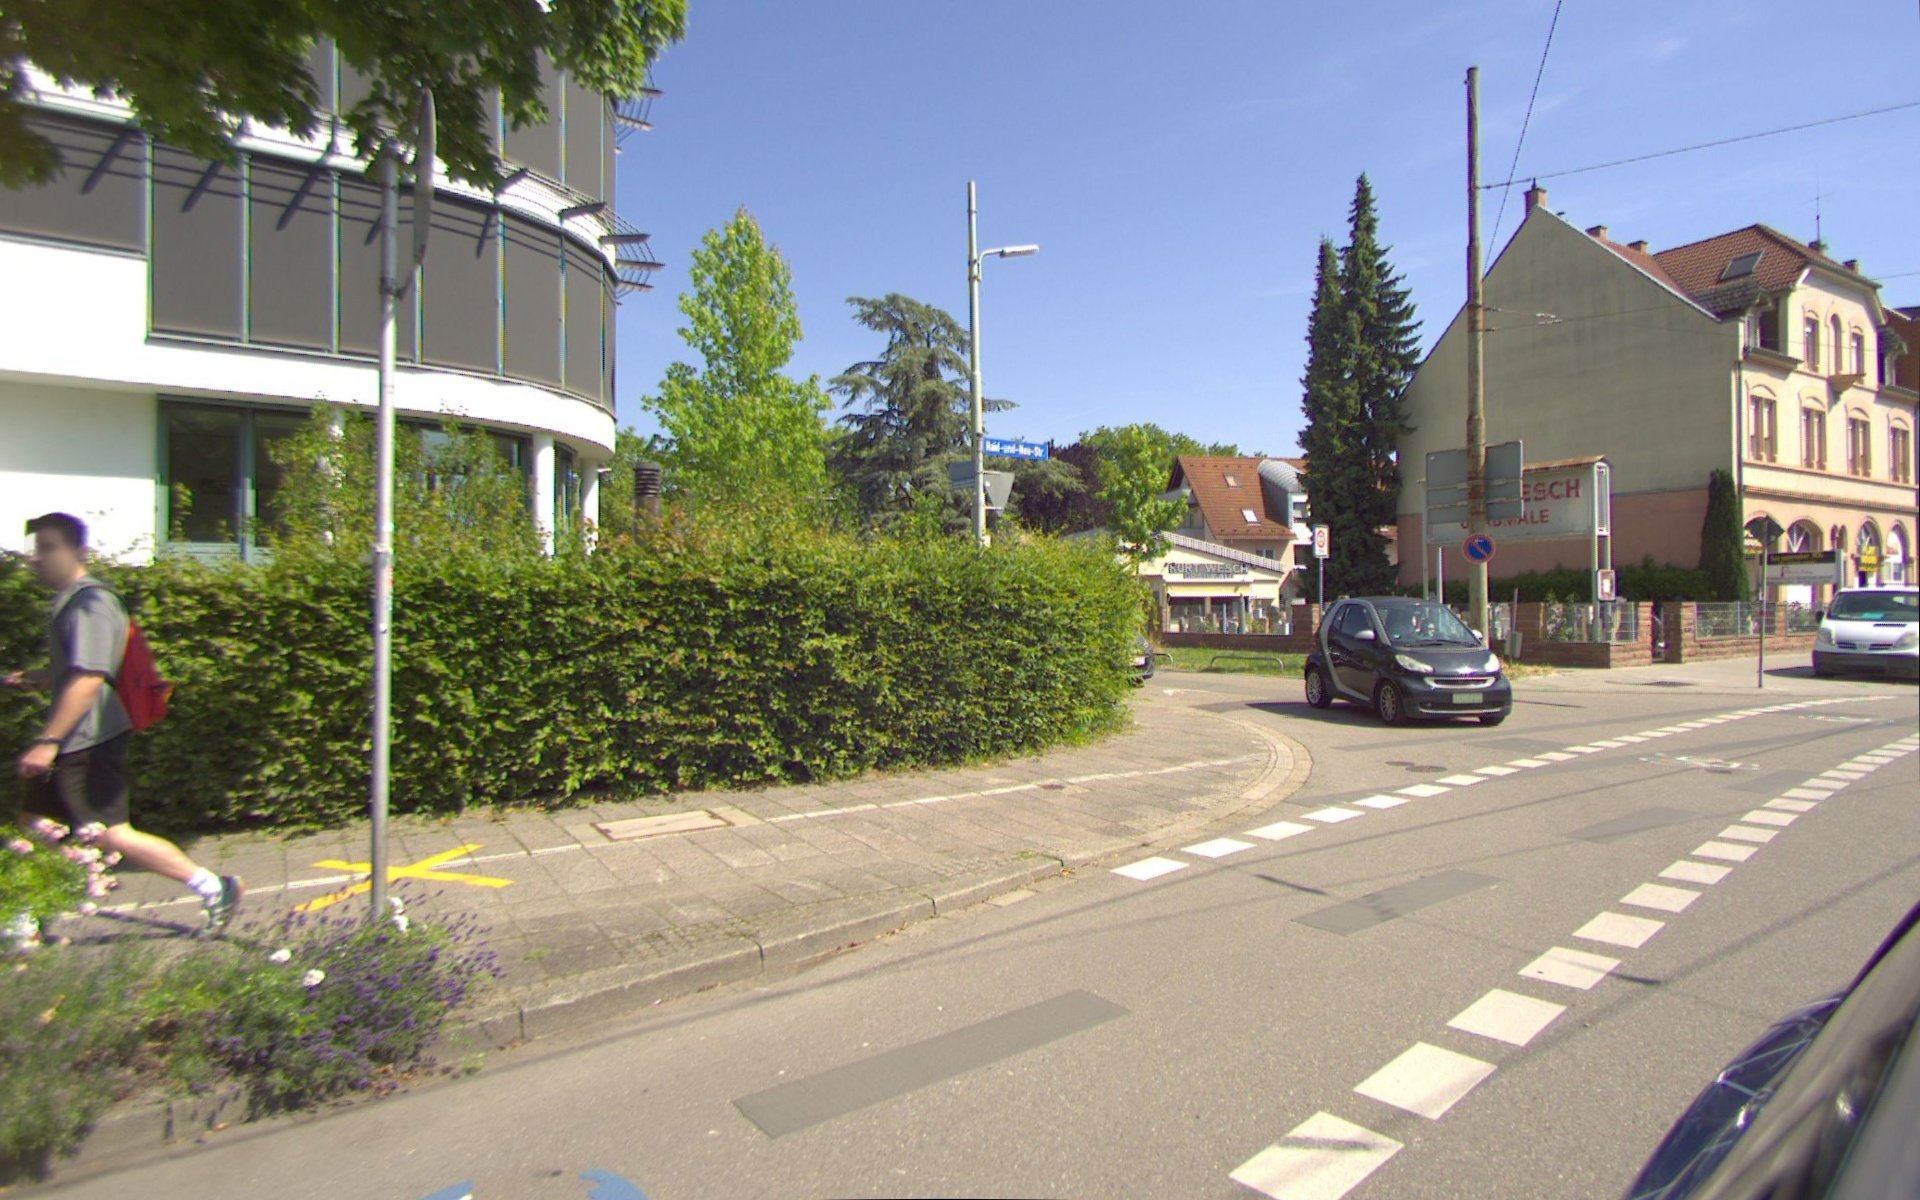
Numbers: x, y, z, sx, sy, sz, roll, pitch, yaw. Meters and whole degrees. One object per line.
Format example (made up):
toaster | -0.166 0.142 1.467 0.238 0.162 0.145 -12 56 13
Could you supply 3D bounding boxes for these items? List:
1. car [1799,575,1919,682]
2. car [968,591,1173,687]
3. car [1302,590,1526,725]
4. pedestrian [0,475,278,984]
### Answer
car | 19.815 0.523 21.183 4.812 2.039 2.092 0 1 -33
car | 1.889 0.642 18.275 1.673 1.547 3.695 0 -1 -35
car | 5.771 0.662 13.224 1.450 1.558 2.978 0 0 -3
pedestrian | -3.535 0.473 4.217 1.054 1.841 0.891 0 -1 -41
